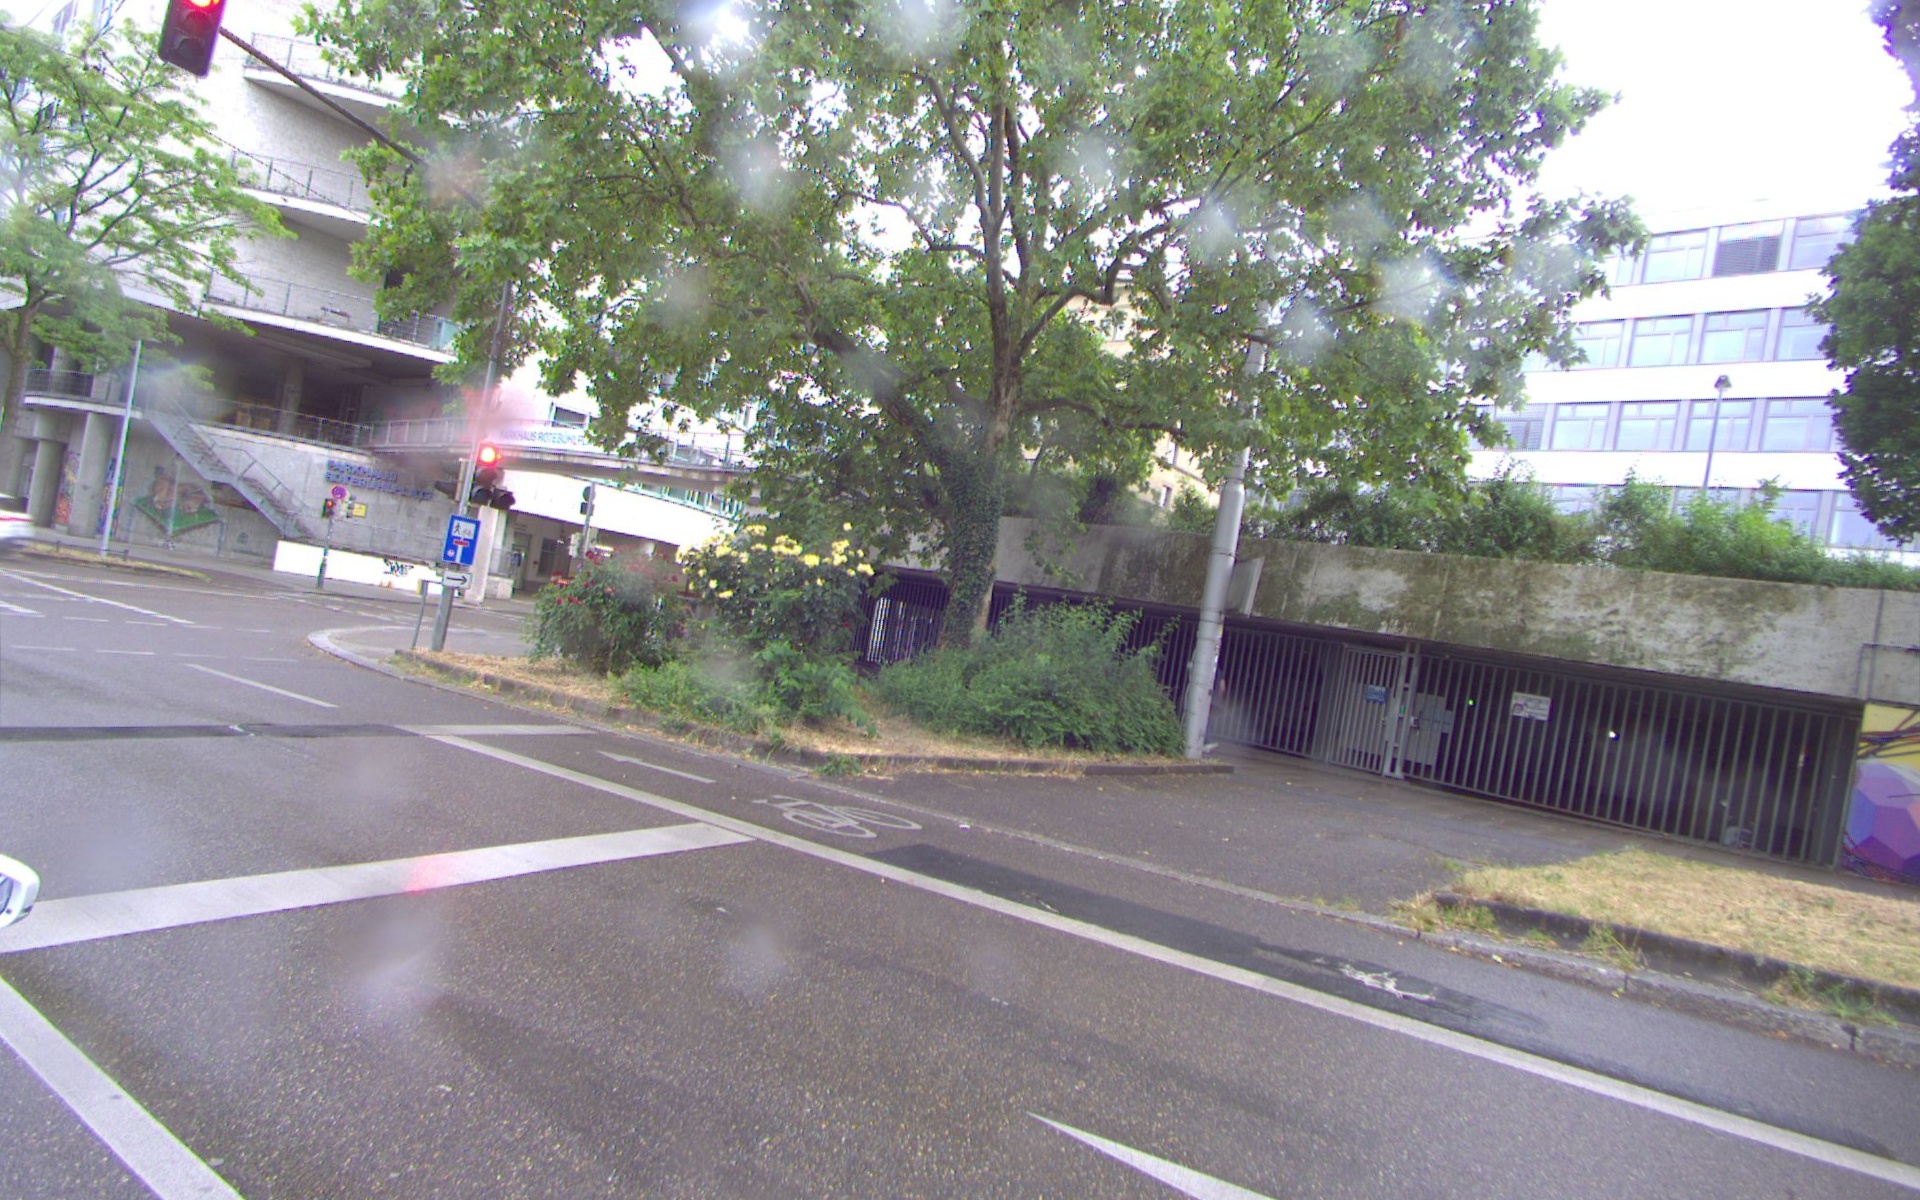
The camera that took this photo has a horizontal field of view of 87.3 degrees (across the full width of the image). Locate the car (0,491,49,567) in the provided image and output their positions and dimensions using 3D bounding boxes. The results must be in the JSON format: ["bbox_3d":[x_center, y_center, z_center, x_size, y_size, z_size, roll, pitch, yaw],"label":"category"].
[{"bbox_3d":[-23.820,-1.951,22.764,4.254,1.657,1.823,10,-3,-28],"label":"car"}]

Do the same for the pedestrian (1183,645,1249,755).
[{"bbox_3d":[4.831,1.879,18.942,0.745,1.932,0.847,8,-1,31],"label":"pedestrian"}]
